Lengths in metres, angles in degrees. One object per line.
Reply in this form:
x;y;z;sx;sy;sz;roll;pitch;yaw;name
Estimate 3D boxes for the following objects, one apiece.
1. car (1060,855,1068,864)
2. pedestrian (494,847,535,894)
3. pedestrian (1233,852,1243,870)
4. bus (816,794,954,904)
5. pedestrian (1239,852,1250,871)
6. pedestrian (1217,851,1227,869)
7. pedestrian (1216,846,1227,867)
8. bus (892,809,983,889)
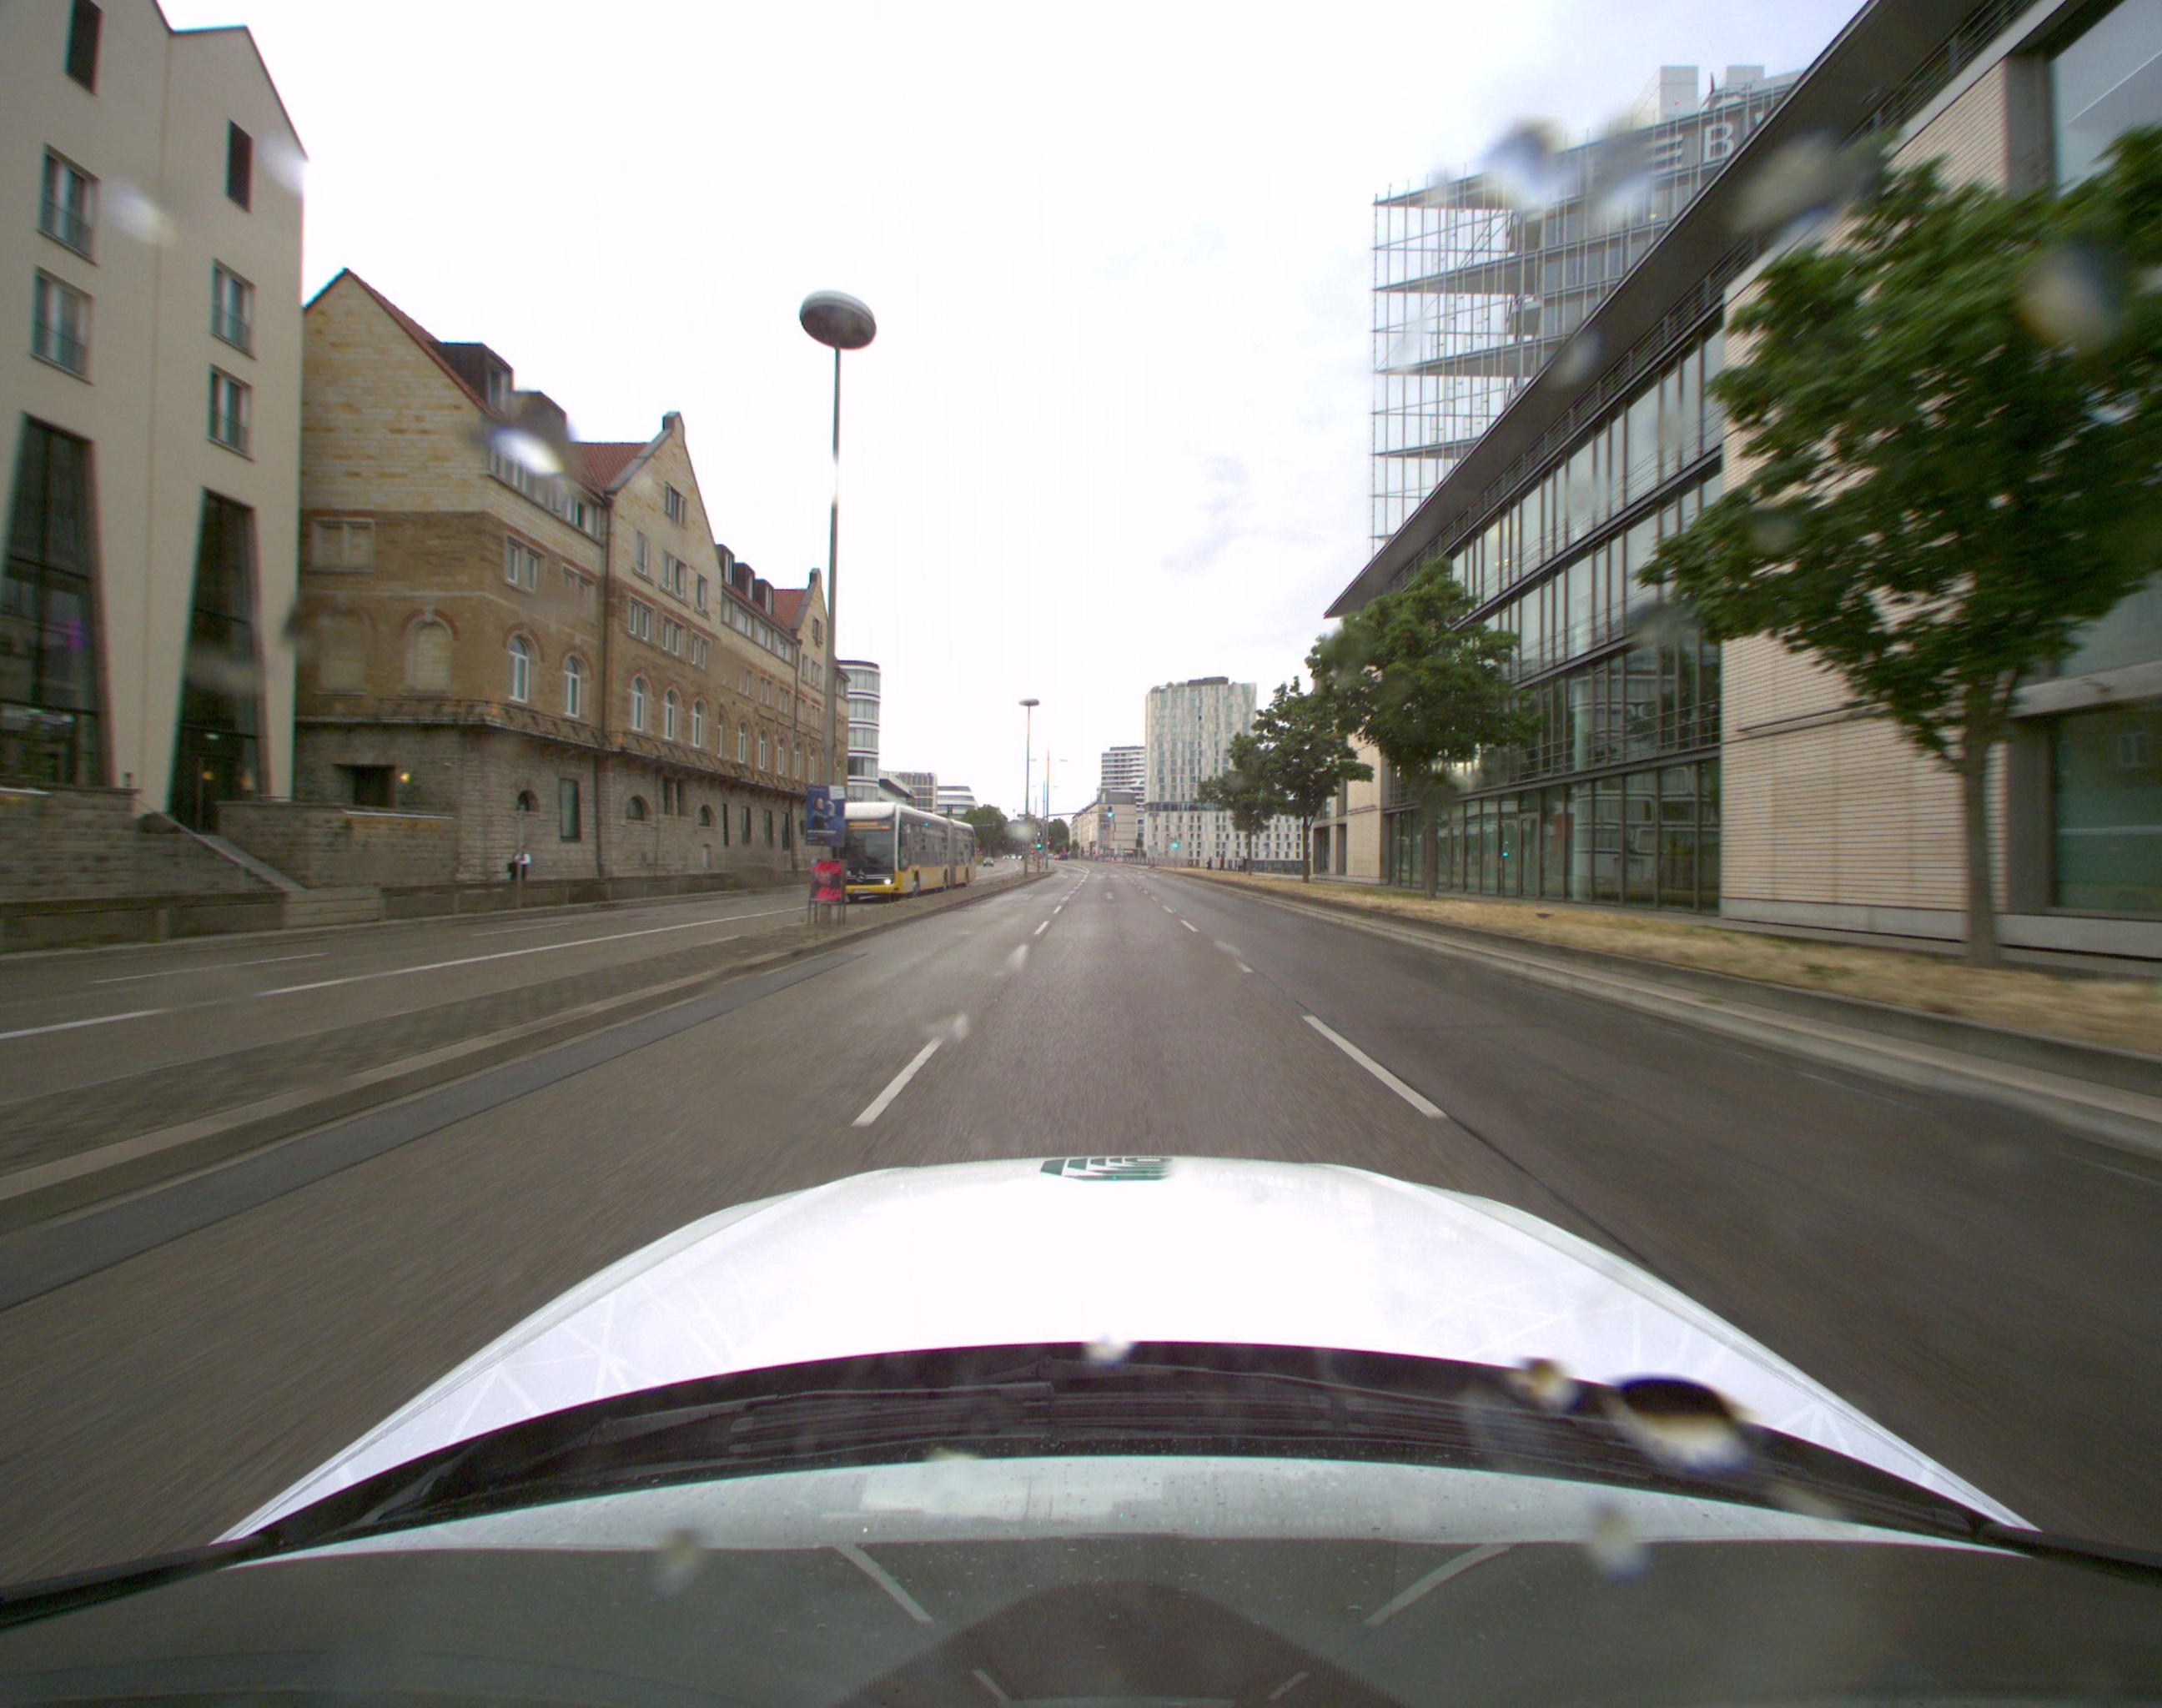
-4.970;1.704;245.289;1.987;2.343;4.000;-7;0;0;car
-18.197;0.523;26.186;0.751;1.477;0.714;-1;1;0;pedestrian
13.630;0.607;70.710;0.544;1.578;0.675;0;1;35;pedestrian
-7.216;-0.127;31.769;2.689;3.559;10.095;-1;0;1;bus
14.264;0.667;71.043;0.662;1.578;0.673;0;1;39;pedestrian
12.544;0.500;72.391;0.544;1.578;0.675;0;1;35;pedestrian
12.528;0.236;72.559;0.787;1.841;0.544;-2;1;-42;pedestrian
-7.130;-0.270;42.046;2.689;3.559;10.095;-1;0;1;bus
